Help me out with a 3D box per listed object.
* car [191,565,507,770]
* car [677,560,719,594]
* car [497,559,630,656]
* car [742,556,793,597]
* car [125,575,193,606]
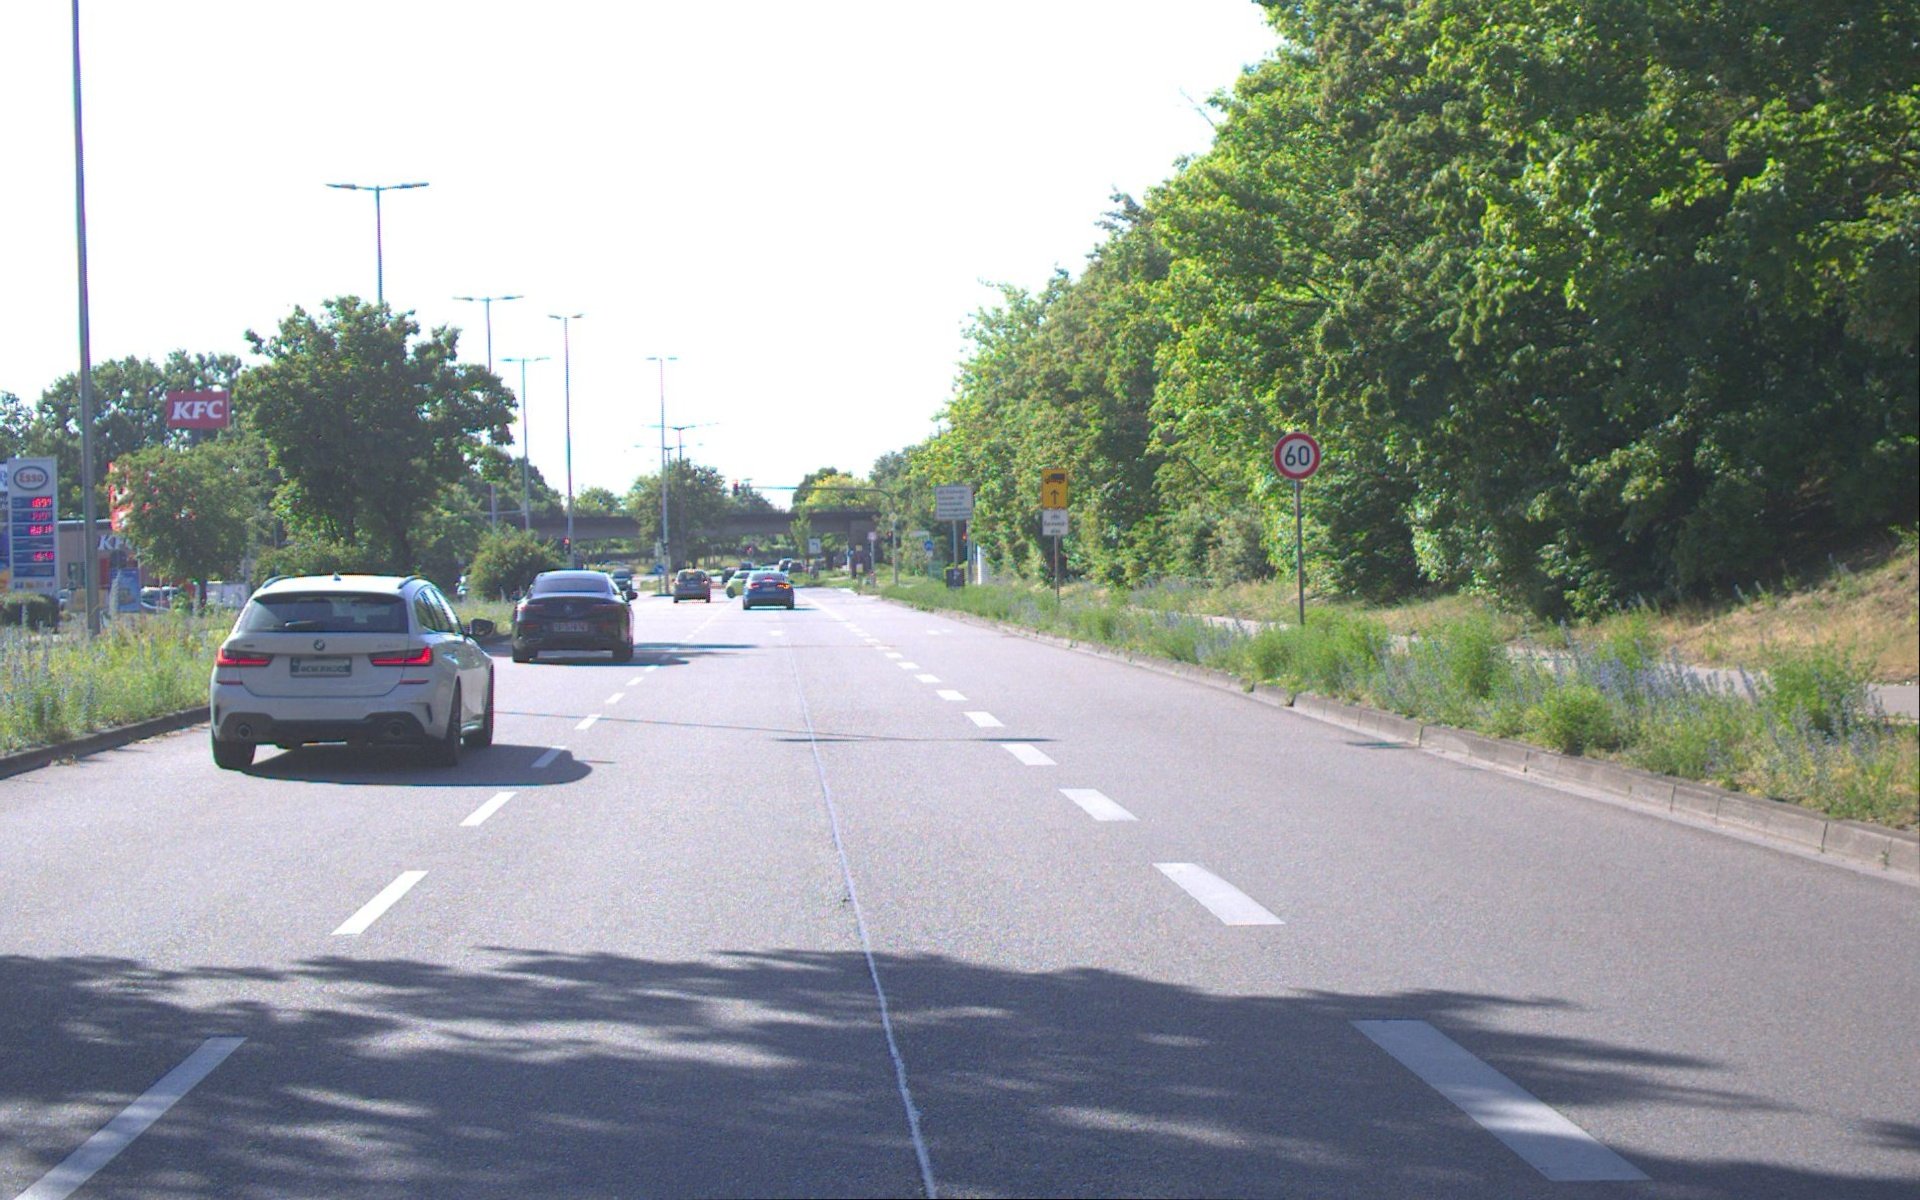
[{"bbox_3d":[-4.724,0.465,27.200,1.861,1.450,4.548,0,1,-2],"label":"car"},{"bbox_3d":[-12.484,-1.127,164.014,1.861,1.560,4.548,-1,1,-3],"label":"car"},{"bbox_3d":[-6.374,0.089,55.612,1.861,1.450,4.548,-1,1,-3],"label":"car"},{"bbox_3d":[-7.240,-0.901,129.284,1.861,1.494,4.337,-1,1,-3],"label":"car"},{"bbox_3d":[-47.108,-0.547,202.082,4.084,1.777,1.922,-1,1,43],"label":"car"}]
